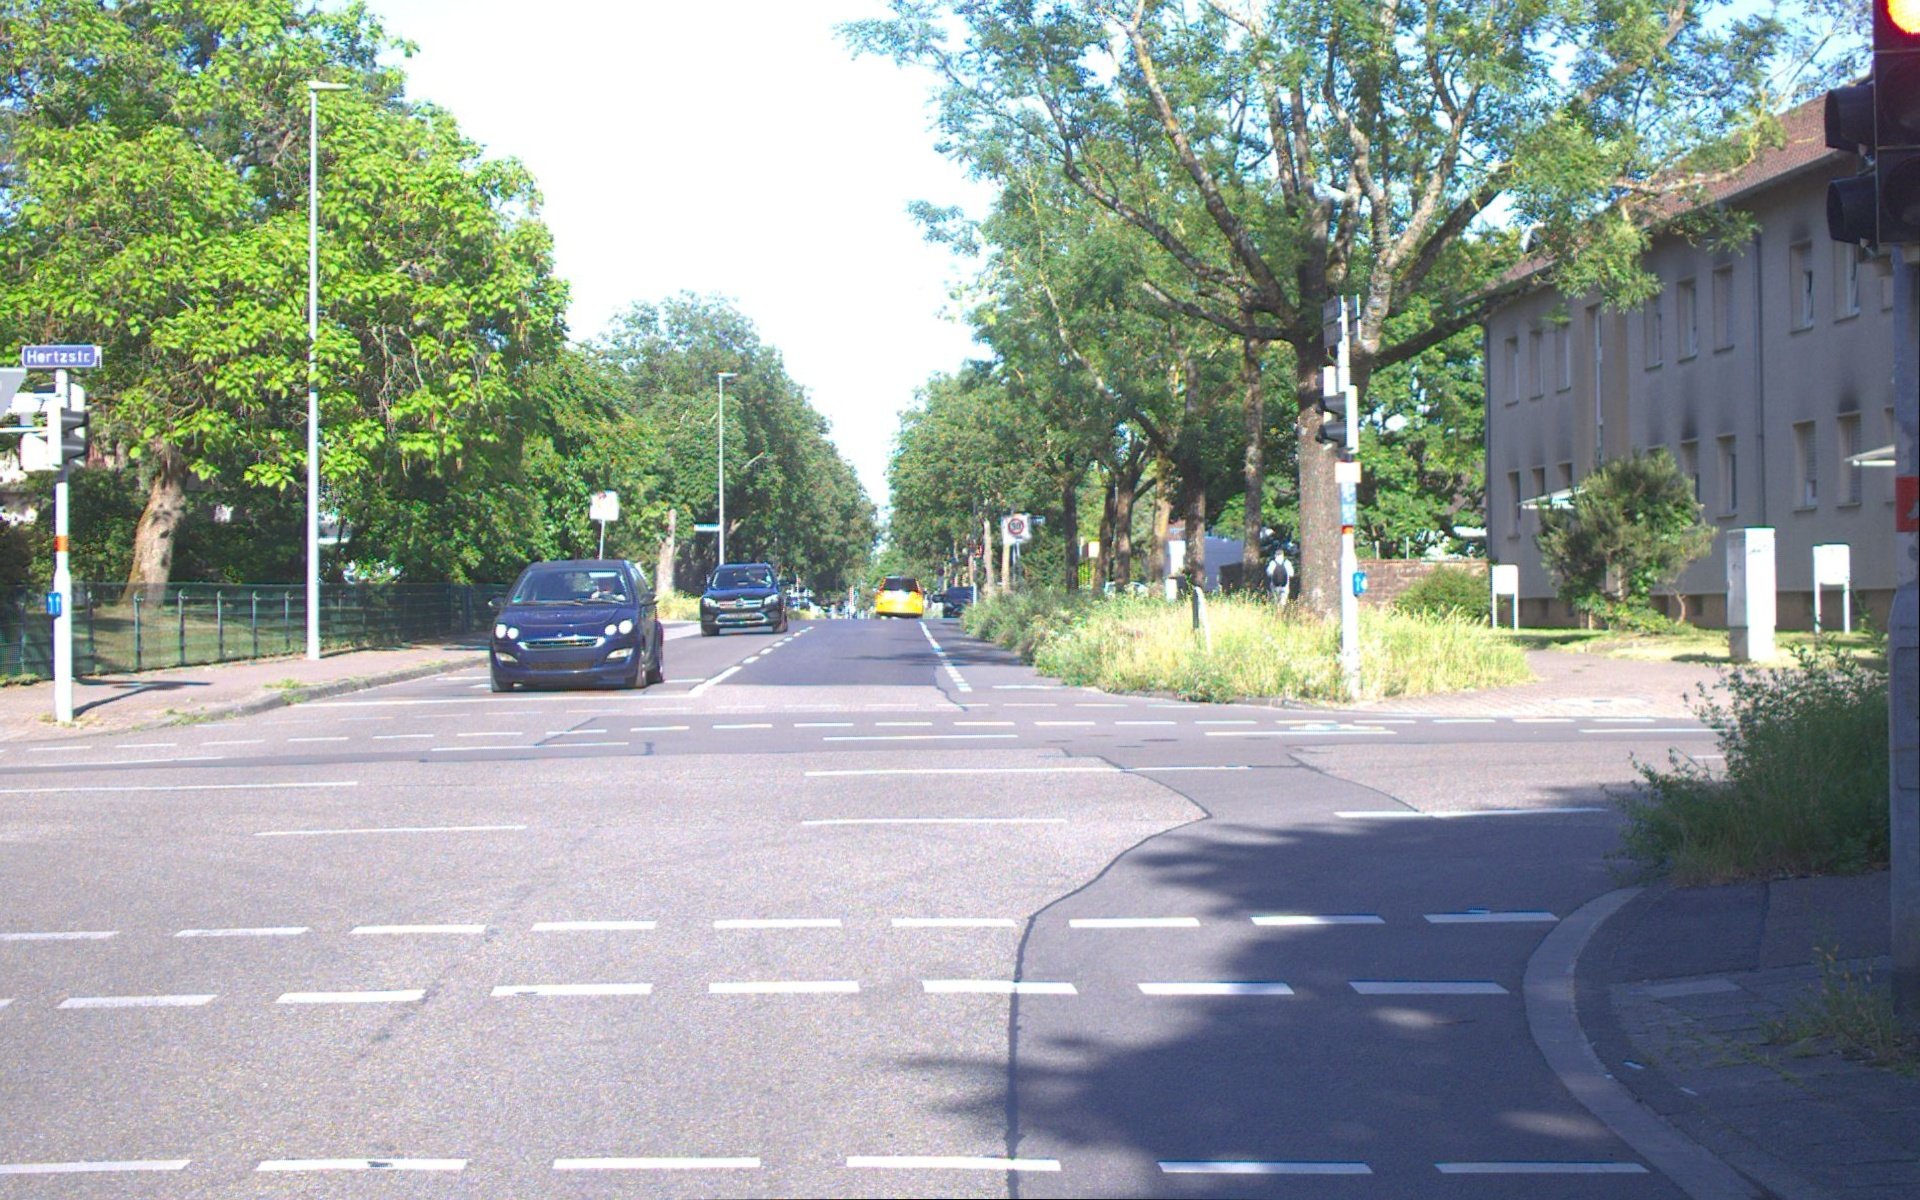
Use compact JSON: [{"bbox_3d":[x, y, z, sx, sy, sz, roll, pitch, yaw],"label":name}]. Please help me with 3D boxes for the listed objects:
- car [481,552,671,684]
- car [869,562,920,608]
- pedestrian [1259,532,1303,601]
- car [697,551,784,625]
[{"bbox_3d":[-4.268,0.173,38.612,1.711,1.381,3.471,0,1,0],"label":"car"},{"bbox_3d":[-2.306,-0.533,121.918,1.751,1.577,4.000,1,0,0],"label":"car"},{"bbox_3d":[7.116,-0.746,76.265,0.842,1.488,0.924,2,1,-1],"label":"pedestrian"},{"bbox_3d":[-4.978,-0.298,78.327,1.758,1.619,3.268,0,1,0],"label":"car"}]
